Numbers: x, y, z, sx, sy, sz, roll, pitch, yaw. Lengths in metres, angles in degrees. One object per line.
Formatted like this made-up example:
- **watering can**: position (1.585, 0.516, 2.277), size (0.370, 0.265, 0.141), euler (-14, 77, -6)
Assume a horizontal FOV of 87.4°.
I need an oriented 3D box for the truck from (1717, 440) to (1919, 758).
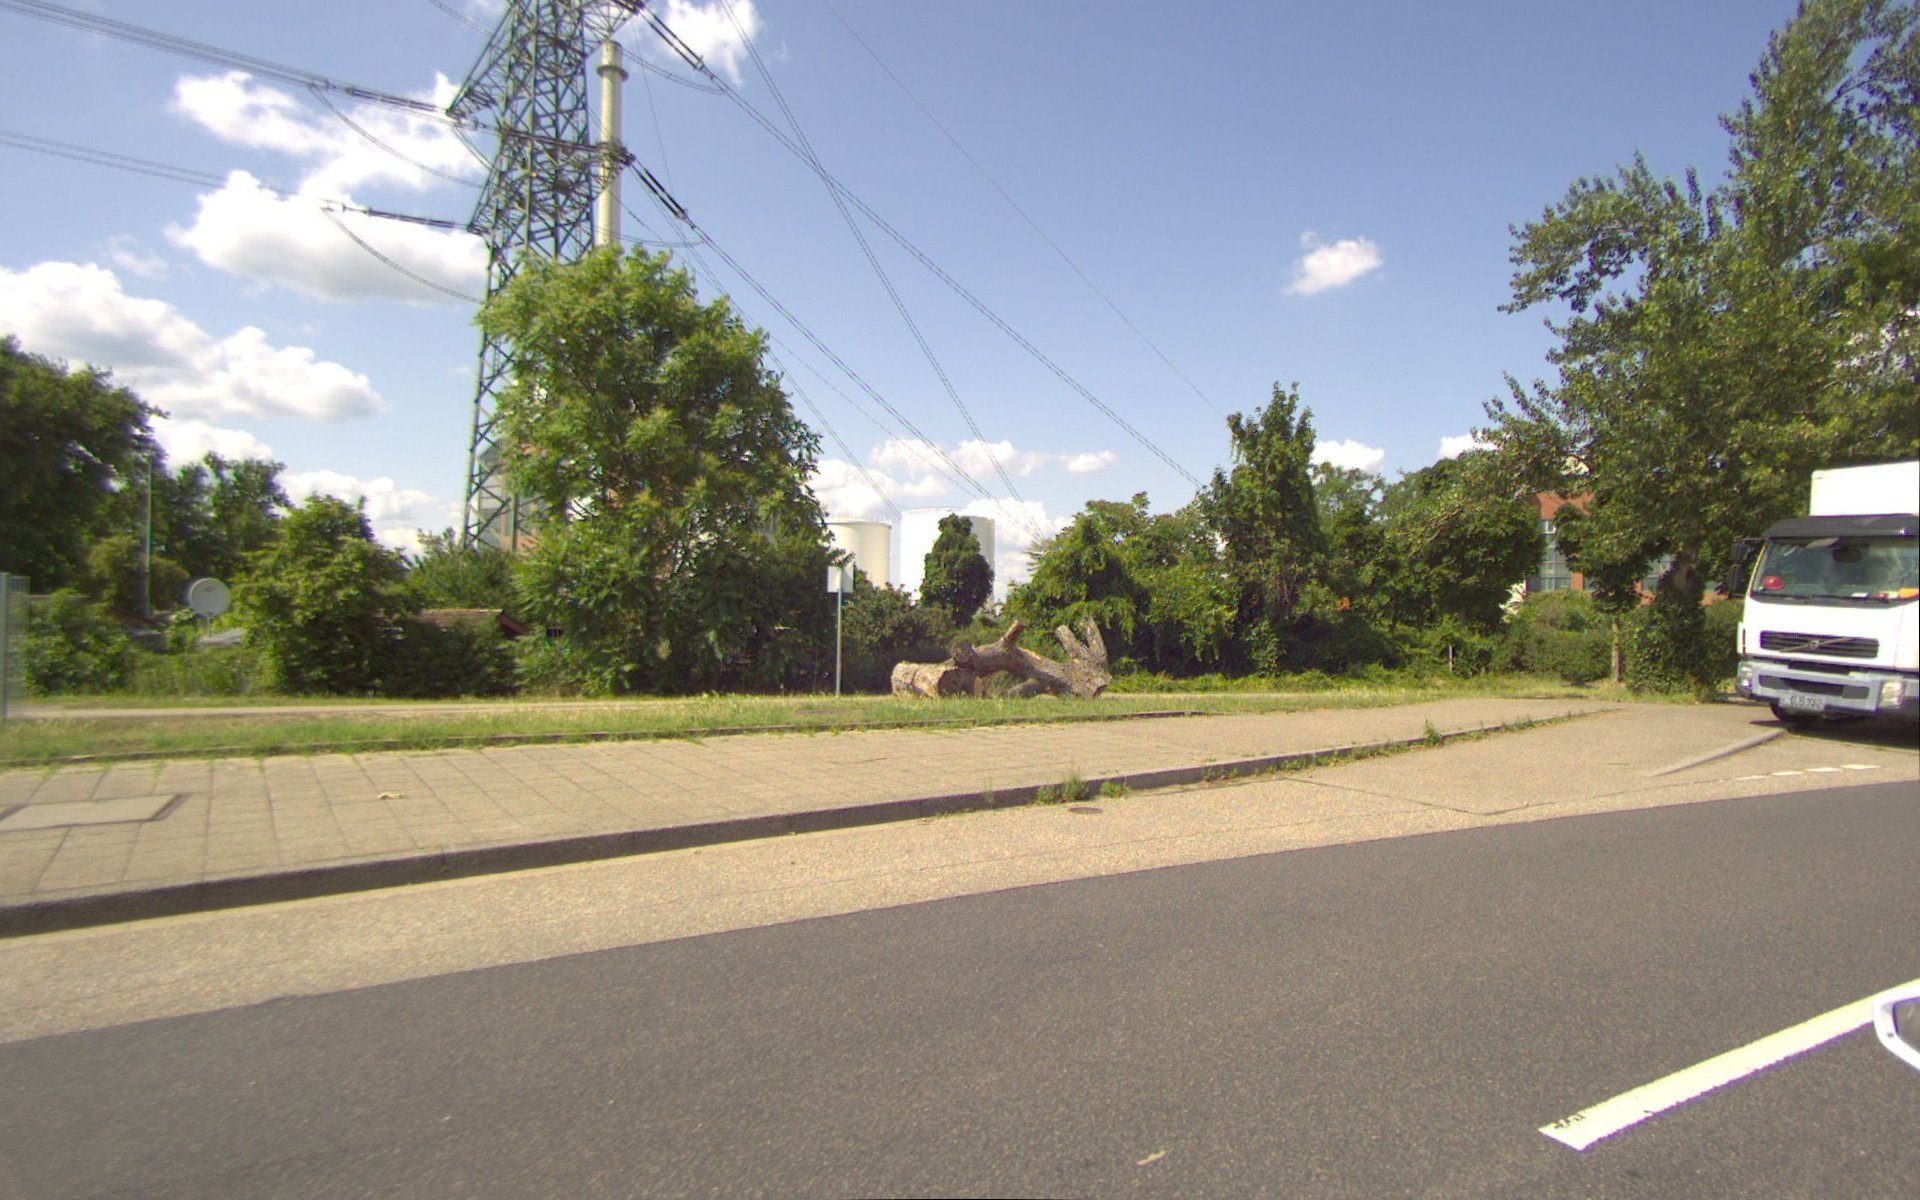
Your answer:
- **truck**: position (15.023, 0.073, 13.837), size (9.215, 3.615, 2.320), euler (1, 0, -17)
